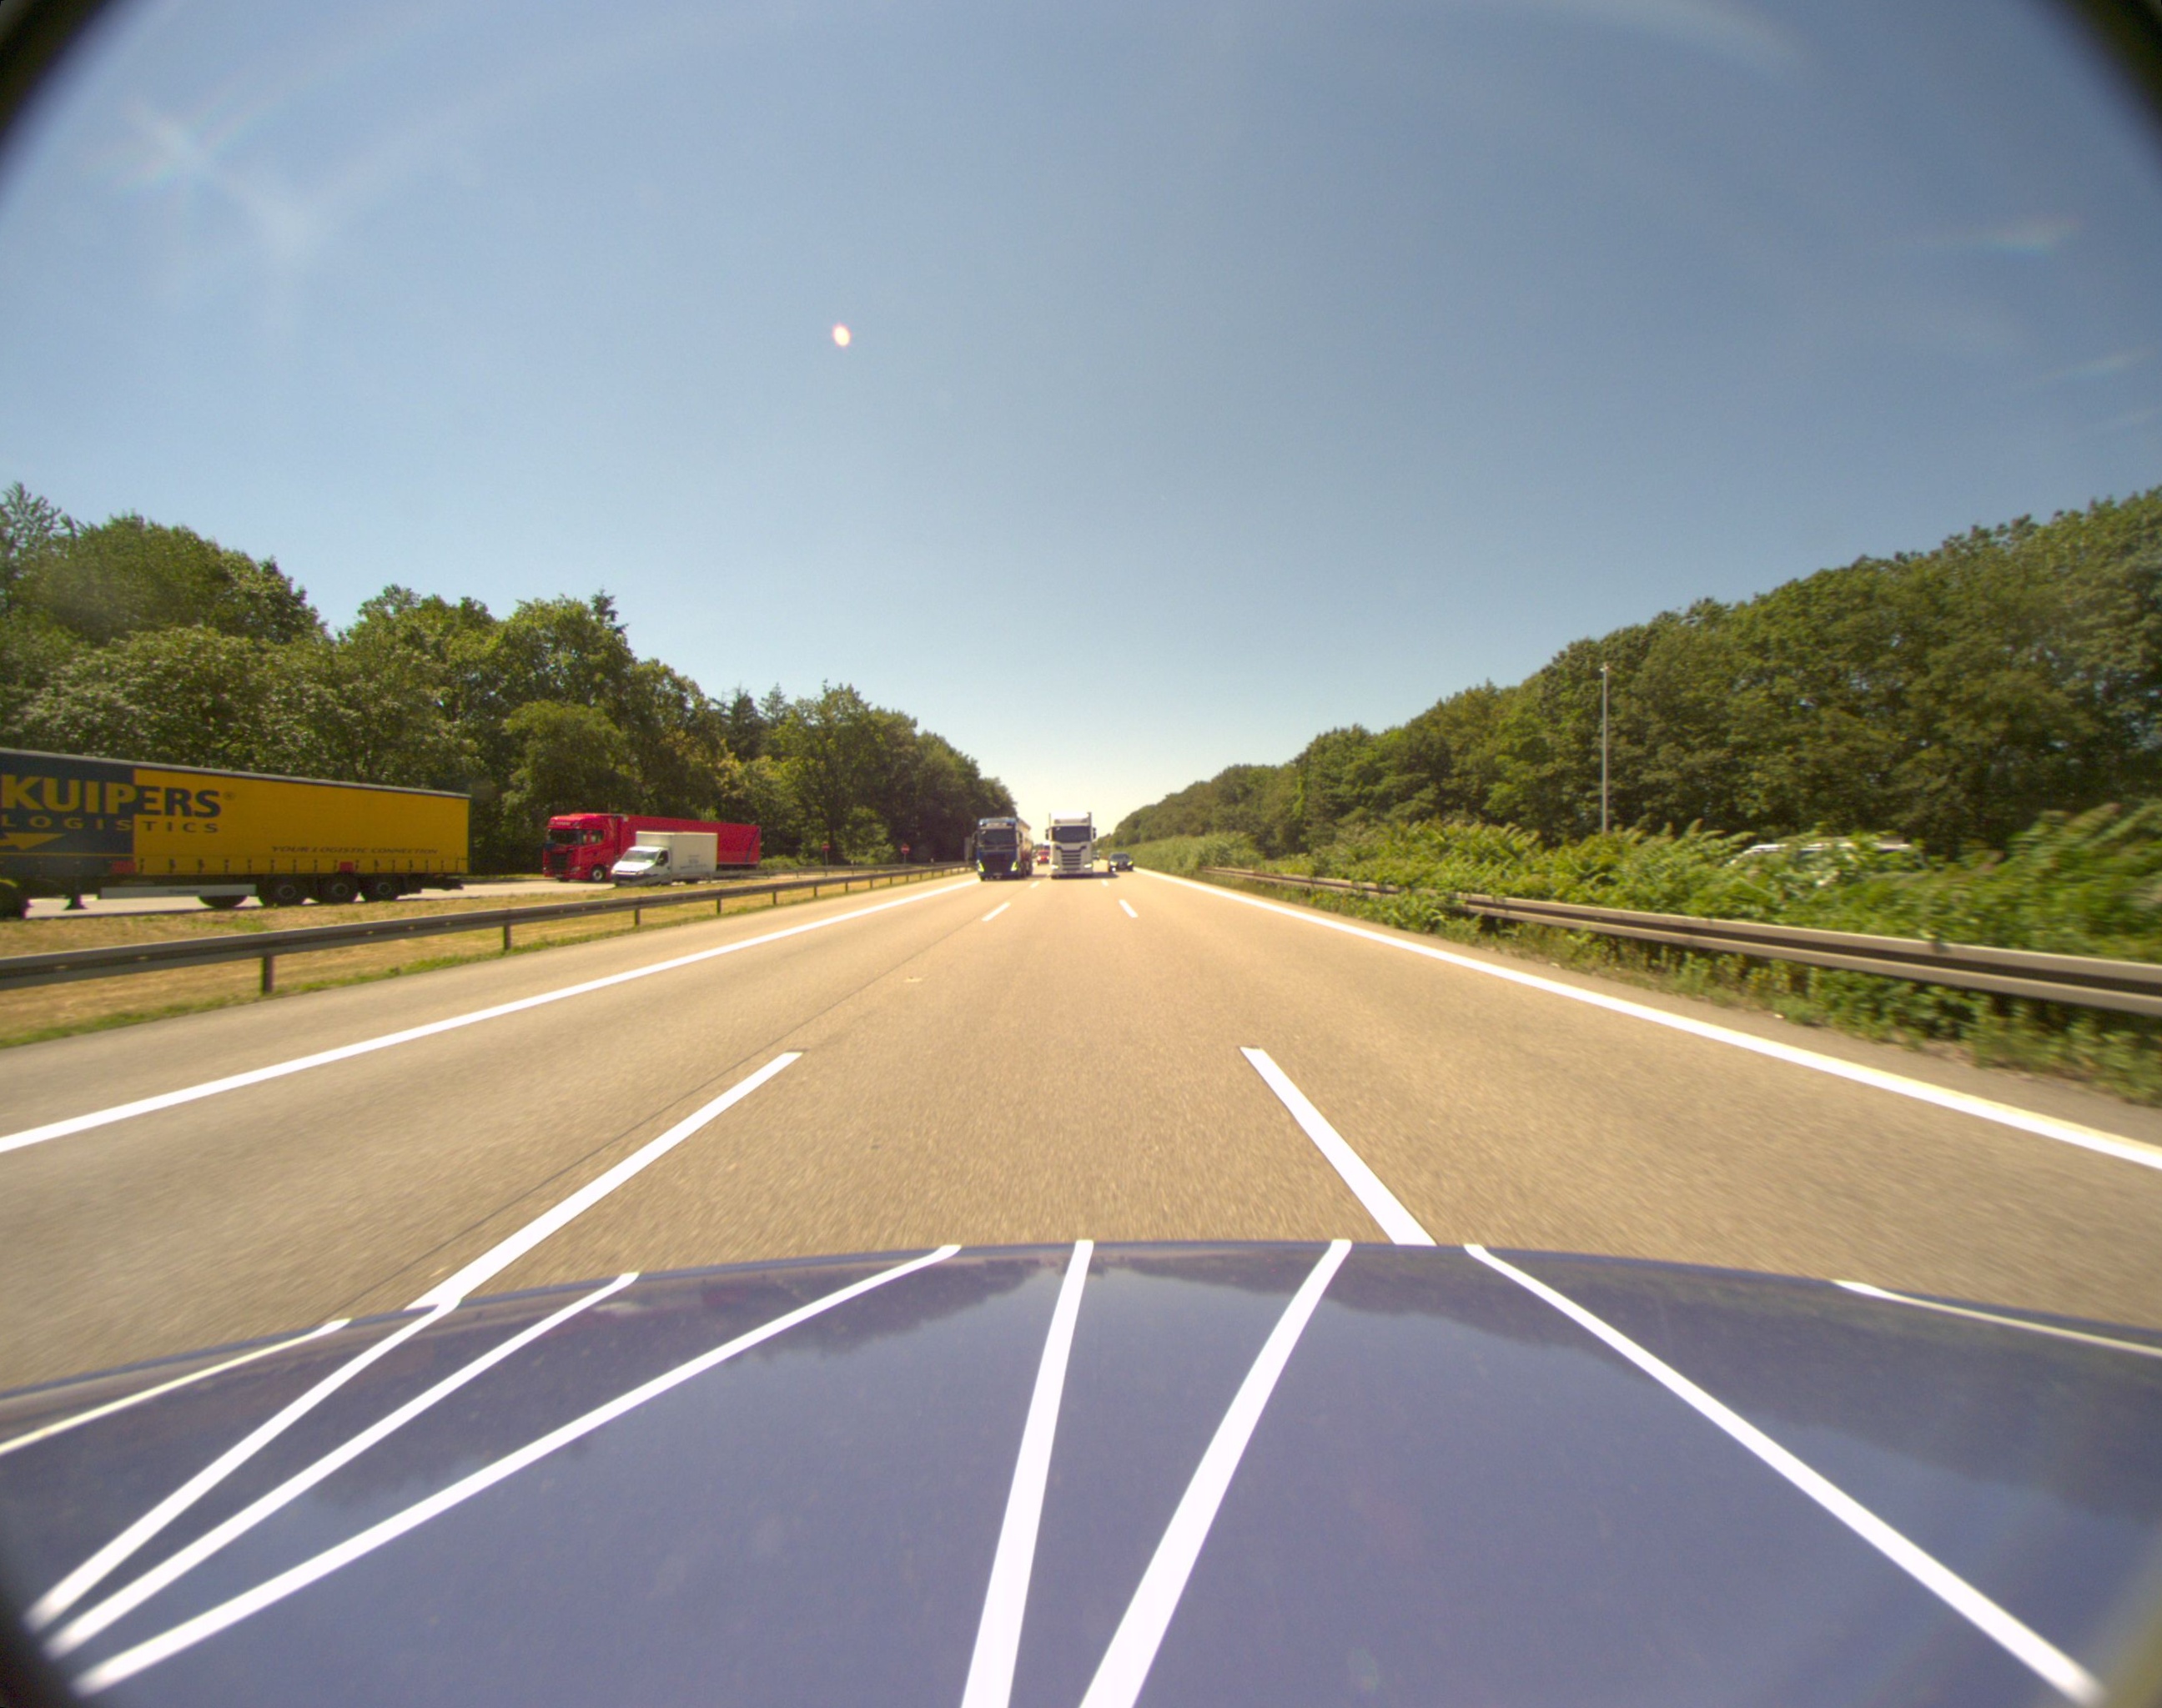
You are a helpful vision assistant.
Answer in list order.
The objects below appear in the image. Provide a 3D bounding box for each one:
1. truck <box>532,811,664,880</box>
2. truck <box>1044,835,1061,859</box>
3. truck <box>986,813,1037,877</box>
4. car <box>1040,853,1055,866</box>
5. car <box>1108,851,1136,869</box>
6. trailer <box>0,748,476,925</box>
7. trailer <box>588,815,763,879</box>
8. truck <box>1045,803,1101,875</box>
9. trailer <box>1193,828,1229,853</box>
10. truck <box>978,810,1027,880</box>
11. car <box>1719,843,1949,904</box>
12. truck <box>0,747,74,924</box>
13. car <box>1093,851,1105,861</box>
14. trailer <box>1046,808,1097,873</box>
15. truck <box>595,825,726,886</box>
[{"bbox_3d":[-28.623,-0.467,45.436,2.984,3.858,6.423,0,0,12],"label":"truck"},{"bbox_3d":[-5.201,-1.237,137.635,2.798,4.180,4.997,0,1,-4],"label":"truck"},{"bbox_3d":[-4.691,-0.603,53.450,2.449,4.020,10.540,-1,1,0],"label":"truck"},{"bbox_3d":[-4.546,0.704,102.361,1.715,1.669,4.000,-2,0,1],"label":"car"},{"bbox_3d":[3.157,0.486,59.645,1.887,1.341,4.467,-1,0,-1],"label":"car"},{"bbox_3d":[-24.711,-0.405,22.487,3.190,3.912,11.556,-1,0,8],"label":"trailer"},{"bbox_3d":[-27.216,-0.489,52.298,2.984,3.855,12.899,0,0,11],"label":"trailer"},{"bbox_3d":[-0.538,-0.870,46.424,3.237,4.133,4.558,-1,0,-2],"label":"truck"},{"bbox_3d":[19.669,-2.055,116.132,2.971,3.549,13.431,-1,0,-1],"label":"trailer"},{"bbox_3d":[-4.719,-0.543,46.369,2.455,4.014,4.071,-1,1,0],"label":"truck"},{"bbox_3d":[19.747,0.444,20.247,1.846,1.456,4.271,0,0,-1],"label":"car"},{"bbox_3d":[-25.747,-0.362,14.770,3.190,3.912,6.620,-1,1,7],"label":"truck"},{"bbox_3d":[3.166,0.322,134.617,1.887,1.634,3.999,-1,0,-1],"label":"car"},{"bbox_3d":[-0.766,-0.859,54.353,3.232,4.119,12.349,-1,0,-2],"label":"trailer"},{"bbox_3d":[-22.391,0.045,41.075,2.474,2.929,7.660,-1,0,3],"label":"truck"}]
